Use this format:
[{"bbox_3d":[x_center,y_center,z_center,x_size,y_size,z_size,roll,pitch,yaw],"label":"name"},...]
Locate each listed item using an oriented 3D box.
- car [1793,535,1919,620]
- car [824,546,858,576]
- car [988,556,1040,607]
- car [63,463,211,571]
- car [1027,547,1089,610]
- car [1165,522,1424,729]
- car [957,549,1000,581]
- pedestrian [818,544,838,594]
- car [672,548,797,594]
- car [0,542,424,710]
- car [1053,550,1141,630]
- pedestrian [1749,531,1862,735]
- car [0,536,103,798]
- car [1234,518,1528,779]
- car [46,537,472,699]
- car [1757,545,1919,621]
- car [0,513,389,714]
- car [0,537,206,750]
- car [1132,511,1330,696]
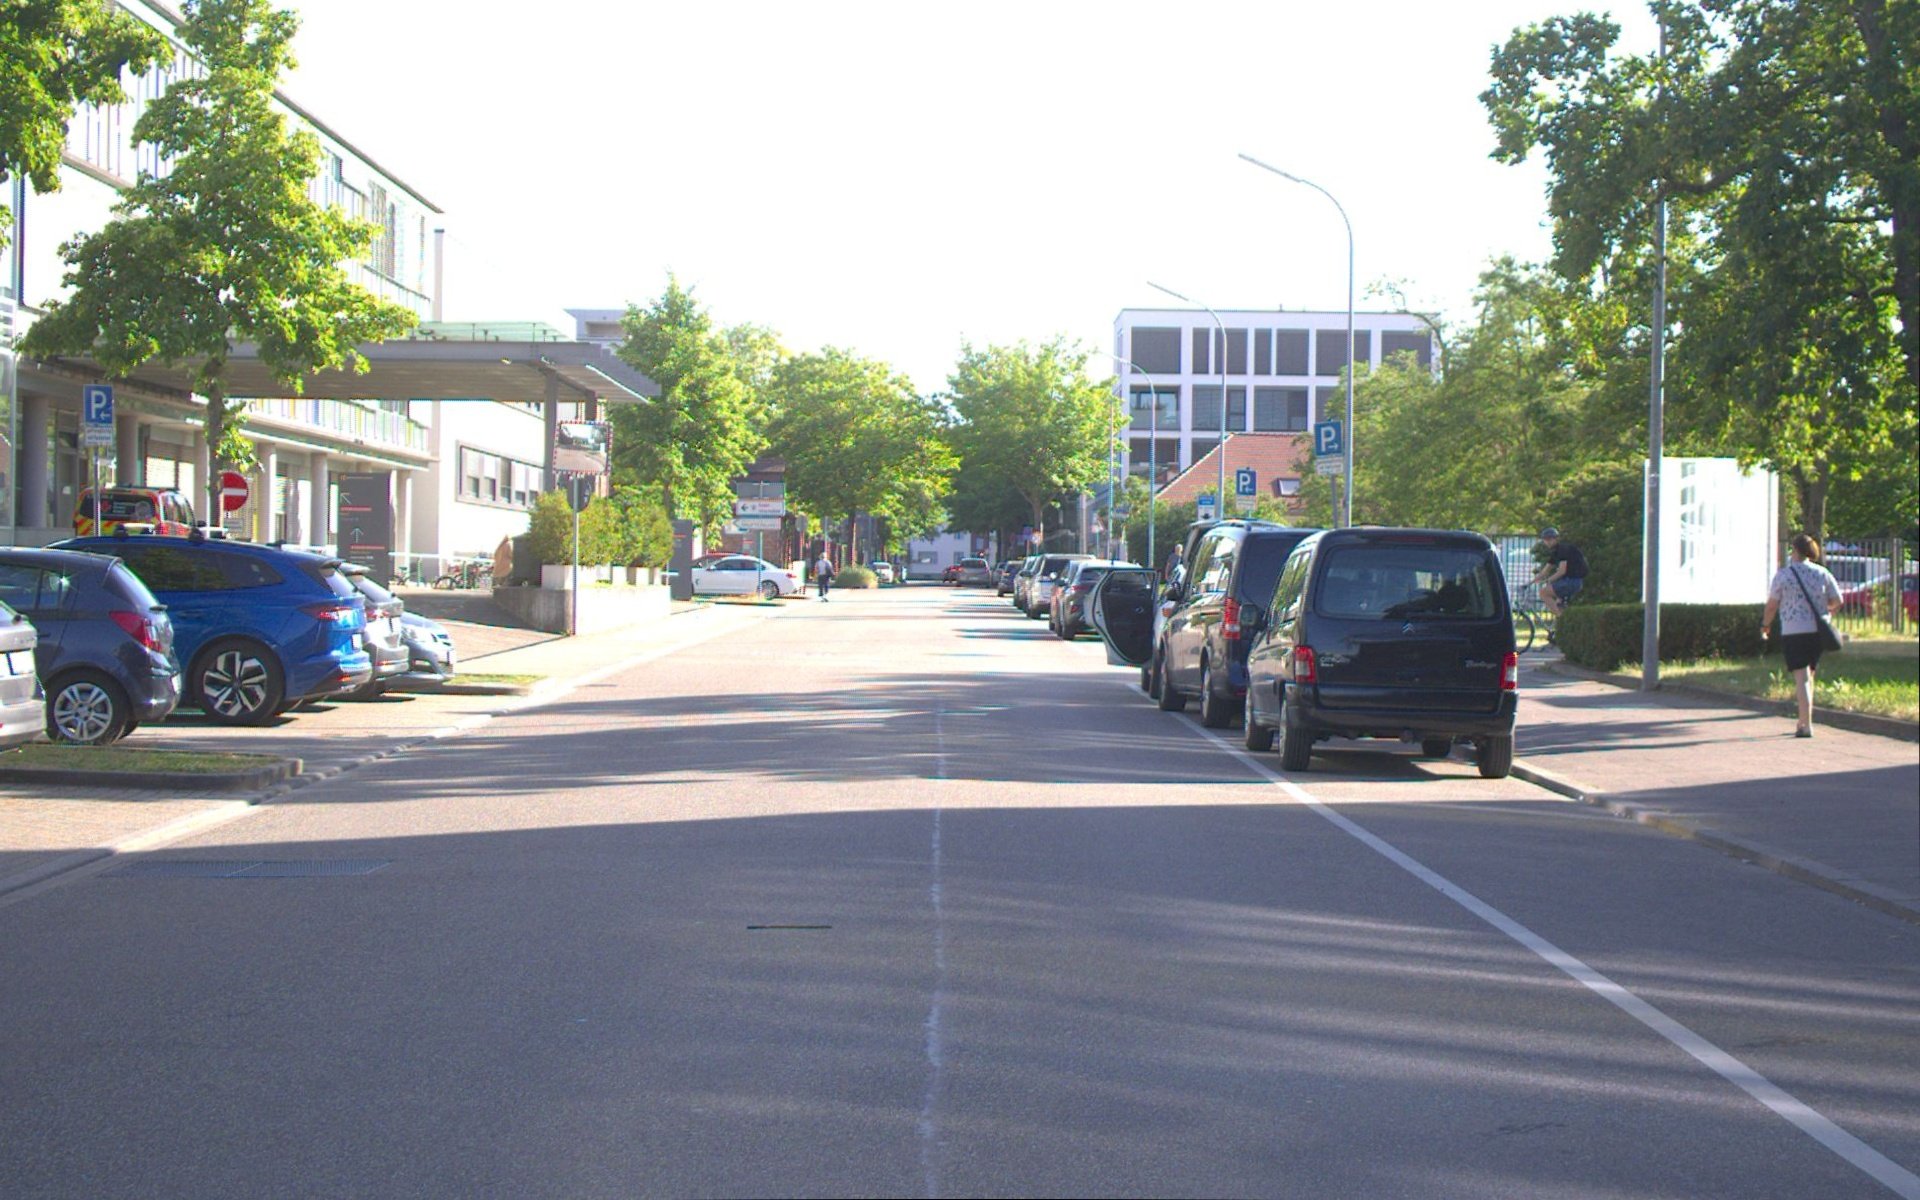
[{"bbox_3d":[22.789,-0.543,84.642,3.986,2.007,2.000,1,0,-5],"label":"car"},{"bbox_3d":[-6.235,-2.054,180.161,1.727,1.531,4.000,1,1,-2],"label":"car"},{"bbox_3d":[2.172,-0.731,139.022,1.993,2.007,4.000,1,0,0],"label":"car"},{"bbox_3d":[-16.460,-1.639,68.928,1.993,2.007,4.000,1,0,0],"label":"car"},{"bbox_3d":[2.482,-0.565,87.345,1.436,1.555,3.042,1,1,0],"label":"car"},{"bbox_3d":[3.083,0.192,32.466,1.993,1.816,4.199,0,1,0],"label":"car"},{"bbox_3d":[0.955,-1.754,172.927,1.744,1.538,3.999,1,1,6],"label":"car"},{"bbox_3d":[-4.329,-1.019,113.032,0.618,1.618,0.716,0,1,0],"label":"pedestrian"},{"bbox_3d":[-7.454,-0.960,113.775,3.987,1.514,2.000,0,1,0],"label":"car"},{"bbox_3d":[-7.221,0.228,32.751,3.986,1.546,2.000,0,1,-3],"label":"car"},{"bbox_3d":[2.606,-0.205,65.790,1.497,1.474,3.650,0,1,0],"label":"car"},{"bbox_3d":[7.036,0.269,28.632,0.698,1.655,0.752,-2,1,0],"label":"pedestrian"},{"bbox_3d":[-7.360,0.296,20.166,4.213,1.457,1.872,2,1,-4],"label":"car"},{"bbox_3d":[3.127,0.315,26.225,1.733,1.824,3.905,1,1,0],"label":"car"},{"bbox_3d":[-7.089,0.159,35.106,3.986,1.546,2.000,1,1,-3],"label":"car"},{"bbox_3d":[24.147,-0.454,94.454,3.986,2.007,2.000,1,0,-2],"label":"car"},{"bbox_3d":[-7.250,0.079,30.161,4.213,1.597,1.872,2,1,-4],"label":"car"},{"bbox_3d":[-7.912,0.247,25.574,4.213,1.481,1.872,2,1,-4],"label":"car"},{"bbox_3d":[2.997,0.007,38.712,1.874,1.971,4.000,0,1,0],"label":"car"}]
